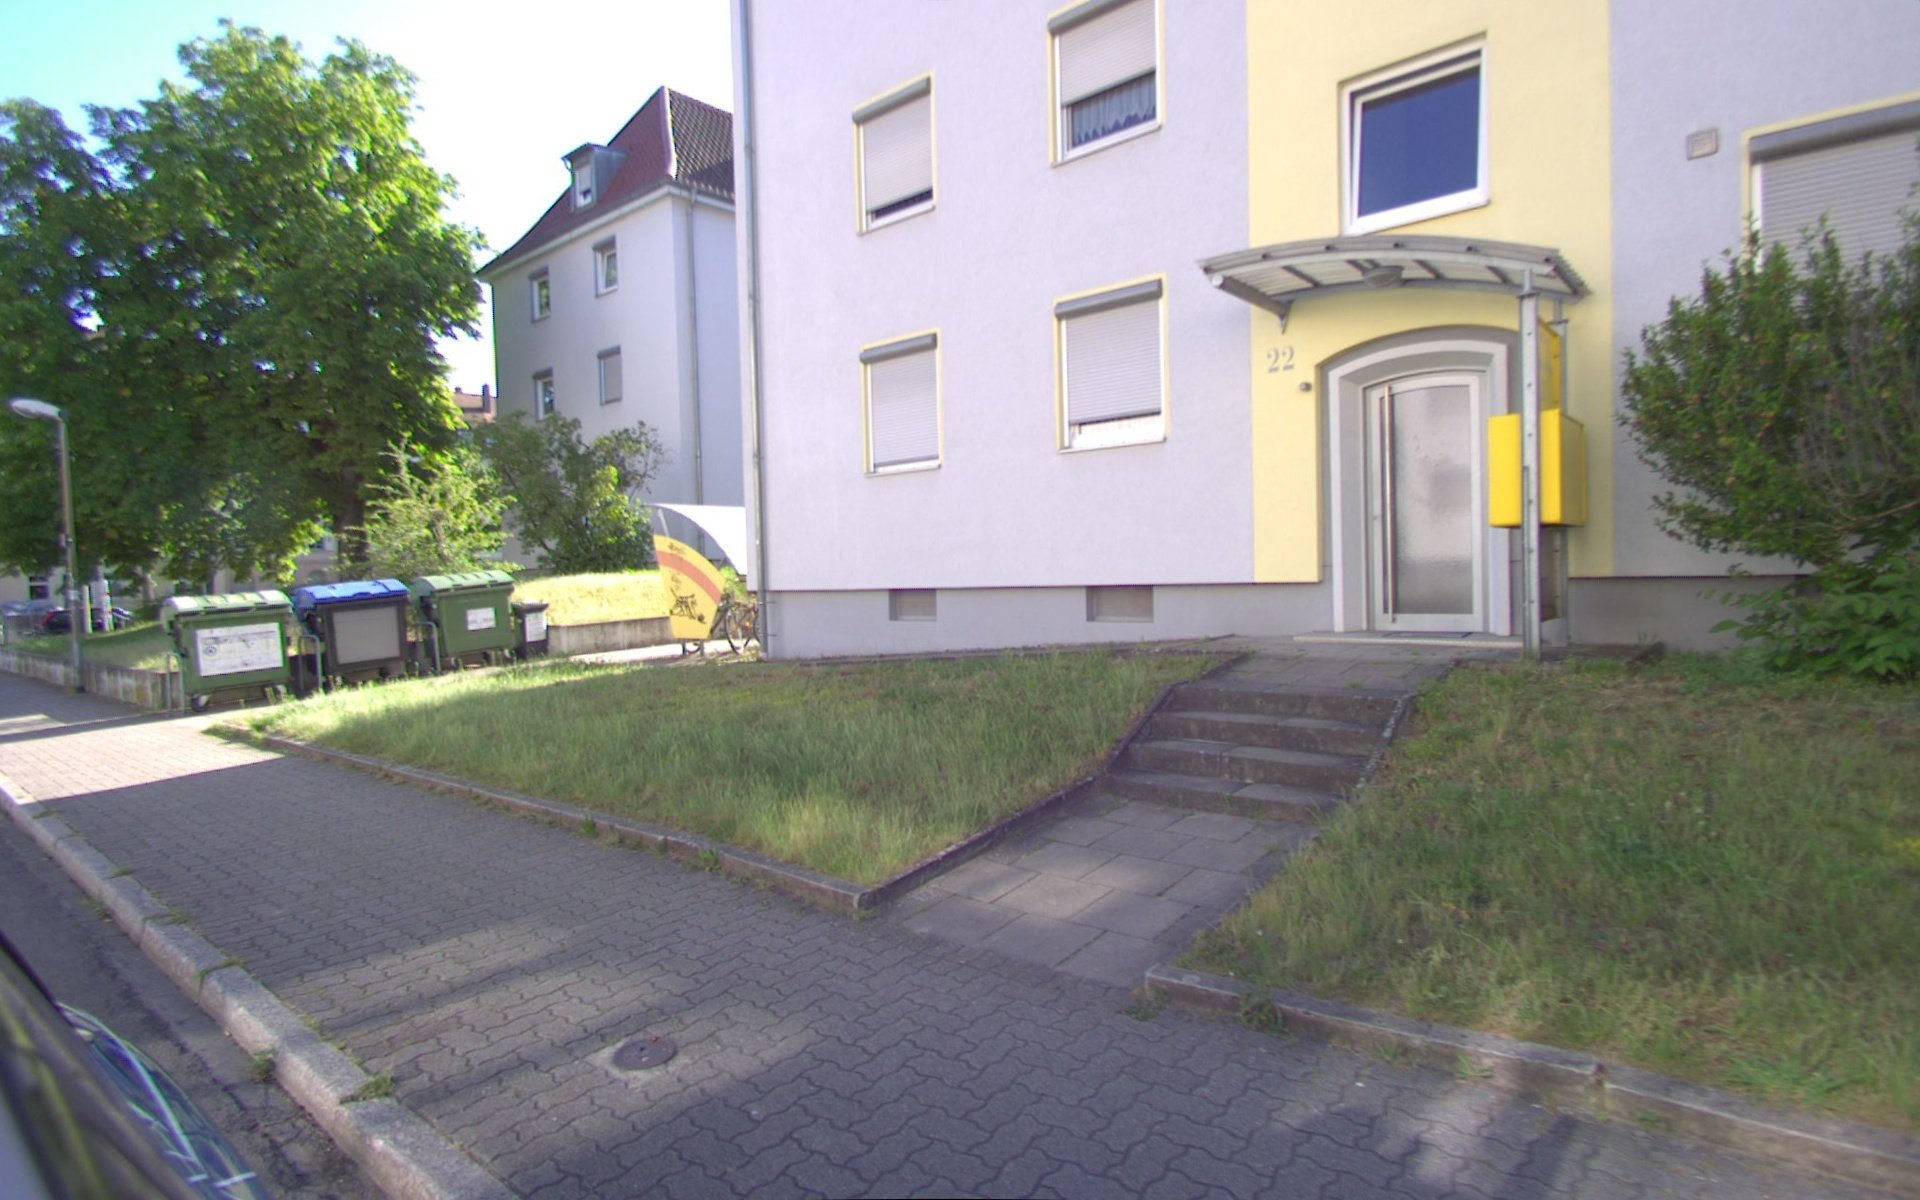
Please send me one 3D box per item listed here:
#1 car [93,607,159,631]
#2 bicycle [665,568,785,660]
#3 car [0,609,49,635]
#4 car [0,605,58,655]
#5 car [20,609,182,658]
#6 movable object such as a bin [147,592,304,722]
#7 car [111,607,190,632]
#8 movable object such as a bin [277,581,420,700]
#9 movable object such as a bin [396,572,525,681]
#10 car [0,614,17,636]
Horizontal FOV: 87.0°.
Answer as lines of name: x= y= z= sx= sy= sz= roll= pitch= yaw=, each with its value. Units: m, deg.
car: x=-56.140 y=1.282 z=68.151 sx=1.544 sy=1.519 sz=3.152 roll=-1 pitch=1 yaw=40
bicycle: x=-3.526 y=0.202 z=15.064 sx=2.008 sy=1.260 sz=0.633 roll=-1 pitch=2 yaw=41
car: x=-56.016 y=1.300 z=59.346 sx=1.624 sy=1.456 sz=3.737 roll=-1 pitch=1 yaw=42
car: x=-33.524 y=1.045 z=36.197 sx=3.306 sy=1.667 sz=1.655 roll=-1 pitch=1 yaw=45
car: x=-30.011 y=1.121 z=35.448 sx=1.728 sy=1.508 sz=4.087 roll=-1 pitch=1 yaw=41
movable object such as a bin: x=-9.593 y=0.701 z=13.239 sx=1.197 sy=1.470 sz=1.302 roll=-1 pitch=5 yaw=41
car: x=-51.650 y=1.227 z=64.612 sx=1.624 sy=1.456 sz=3.737 roll=-1 pitch=1 yaw=42
movable object such as a bin: x=-8.695 y=0.547 z=14.403 sx=1.082 sy=1.470 sz=1.342 roll=-1 pitch=6 yaw=41
movable object such as a bin: x=-7.700 y=0.382 z=15.612 sx=1.072 sy=1.463 sz=1.347 roll=-1 pitch=6 yaw=41
car: x=-60.630 y=1.605 z=62.636 sx=1.544 sy=1.329 sz=3.152 roll=-1 pitch=1 yaw=40
